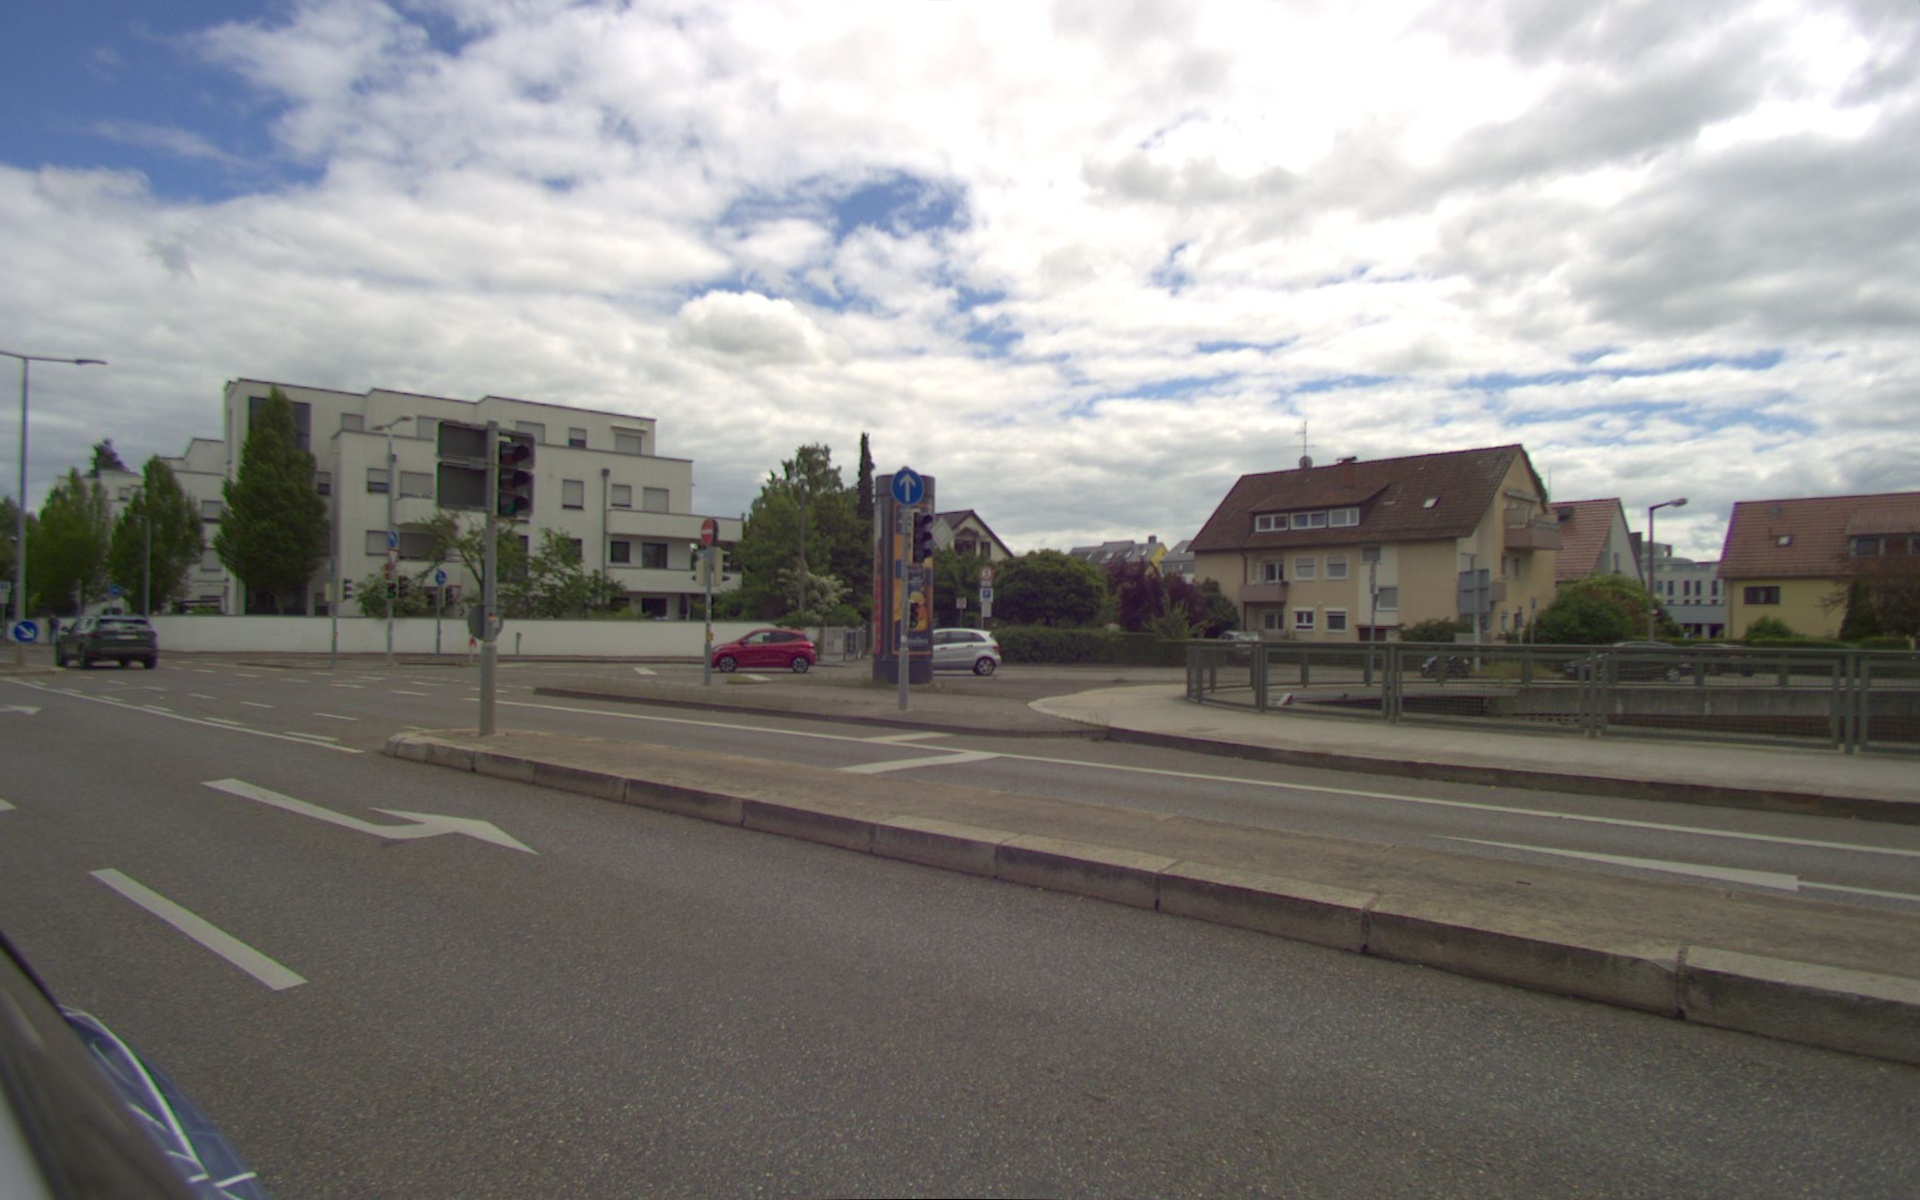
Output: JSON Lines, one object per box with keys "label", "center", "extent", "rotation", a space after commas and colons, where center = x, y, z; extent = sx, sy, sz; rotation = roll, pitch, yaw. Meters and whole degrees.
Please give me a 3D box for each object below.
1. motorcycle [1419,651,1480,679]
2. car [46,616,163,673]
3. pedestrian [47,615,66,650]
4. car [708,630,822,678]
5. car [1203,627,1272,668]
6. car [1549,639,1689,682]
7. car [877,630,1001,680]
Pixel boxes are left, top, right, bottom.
{"label": "motorcycle", "center": [19.498, 2.574, 40.351], "extent": [0.691, 1.007, 2.127], "rotation": [6, -4, -32]}
{"label": "car", "center": [-26.262, 1.336, 31.037], "extent": [4.272, 1.639, 1.806], "rotation": [-1, -3, 37]}
{"label": "pedestrian", "center": [-52.621, 1.873, 58.930], "extent": [0.871, 1.962, 0.642], "rotation": [-1, 1, 39]}
{"label": "car", "center": [-6.545, 1.822, 34.254], "extent": [3.644, 1.458, 1.778], "rotation": [2, -2, -8]}
{"label": "car", "center": [12.471, 2.115, 45.755], "extent": [1.760, 1.592, 4.003], "rotation": [-2, 1, -3]}
{"label": "car", "center": [26.292, 2.400, 40.476], "extent": [4.311, 1.619, 2.002], "rotation": [1, -2, -4]}
{"label": "car", "center": [-0.758, 1.877, 34.647], "extent": [4.066, 1.547, 1.649], "rotation": [2, -3, -6]}
